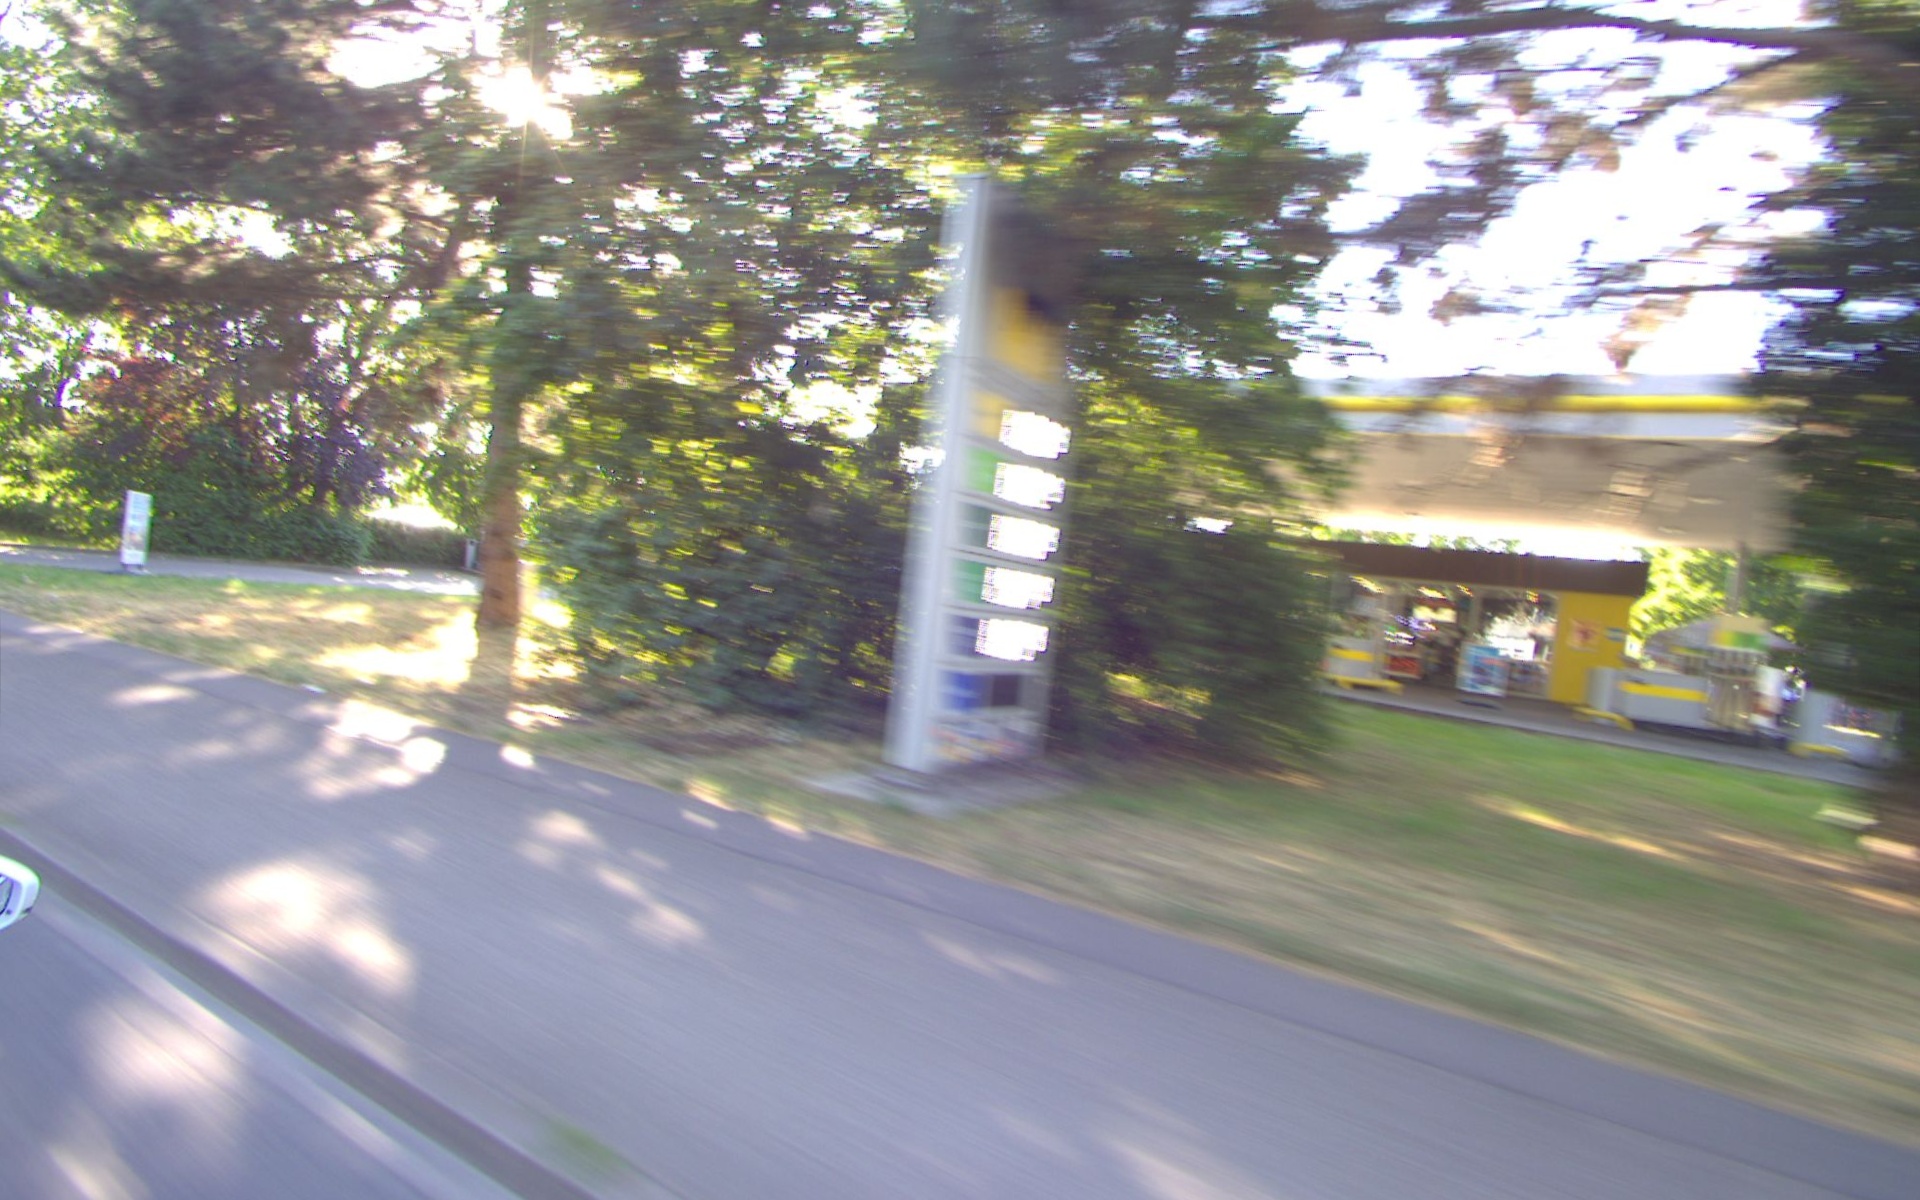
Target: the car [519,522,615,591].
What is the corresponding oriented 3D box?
[{"bbox_3d":[-13.892,-1.565,35.434,1.841,1.962,3.953,5,3,-41],"label":"car"}]
